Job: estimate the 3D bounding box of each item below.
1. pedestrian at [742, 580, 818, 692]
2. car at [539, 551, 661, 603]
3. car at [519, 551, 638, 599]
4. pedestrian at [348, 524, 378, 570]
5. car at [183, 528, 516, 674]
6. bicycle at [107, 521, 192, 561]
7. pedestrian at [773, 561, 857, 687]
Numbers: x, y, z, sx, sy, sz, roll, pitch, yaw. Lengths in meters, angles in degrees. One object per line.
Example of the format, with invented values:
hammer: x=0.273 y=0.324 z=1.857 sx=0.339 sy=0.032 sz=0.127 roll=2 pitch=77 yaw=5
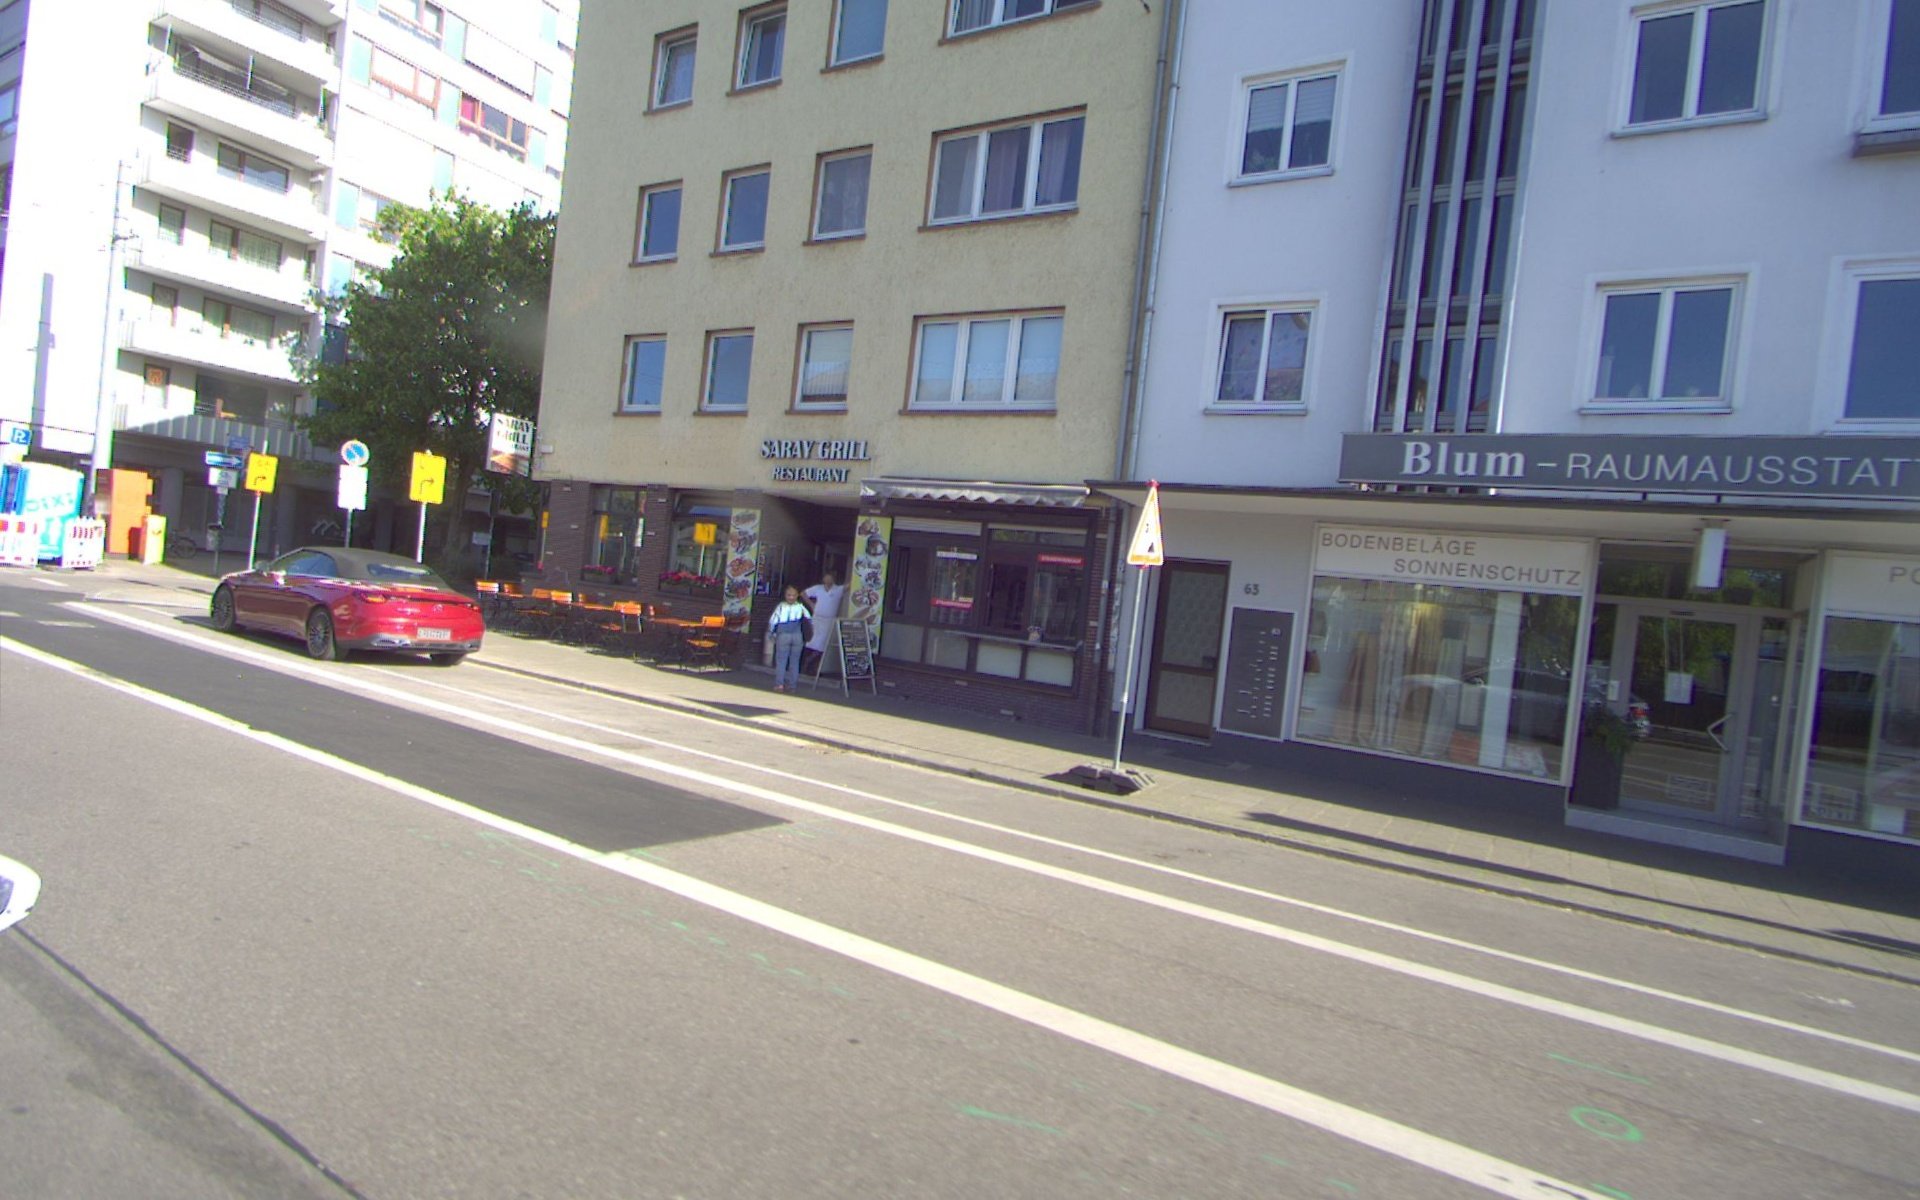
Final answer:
pedestrian: x=-2.591 y=0.523 z=14.490 sx=0.641 sy=1.525 sz=0.671 roll=7 pitch=1 yaw=32
car: x=-14.983 y=-0.950 z=42.016 sx=4.204 sy=1.625 sz=2.129 roll=7 pitch=0 yaw=-43
car: x=-16.710 y=-1.066 z=44.187 sx=4.466 sy=1.542 sz=1.818 roll=7 pitch=0 yaw=-43
pedestrian: x=-25.939 y=-2.297 z=43.702 sx=0.667 sy=1.875 sz=0.656 roll=6 pitch=-2 yaw=33
car: x=-8.668 y=-0.024 z=14.128 sx=5.075 sy=1.460 sz=1.873 roll=6 pitch=0 yaw=33
bicycle: x=-25.790 y=-1.877 z=32.068 sx=2.019 sy=0.954 sz=1.006 roll=7 pitch=0 yaw=-39
pedestrian: x=-2.293 y=0.379 z=15.928 sx=0.886 sy=1.878 sz=0.729 roll=7 pitch=1 yaw=34
